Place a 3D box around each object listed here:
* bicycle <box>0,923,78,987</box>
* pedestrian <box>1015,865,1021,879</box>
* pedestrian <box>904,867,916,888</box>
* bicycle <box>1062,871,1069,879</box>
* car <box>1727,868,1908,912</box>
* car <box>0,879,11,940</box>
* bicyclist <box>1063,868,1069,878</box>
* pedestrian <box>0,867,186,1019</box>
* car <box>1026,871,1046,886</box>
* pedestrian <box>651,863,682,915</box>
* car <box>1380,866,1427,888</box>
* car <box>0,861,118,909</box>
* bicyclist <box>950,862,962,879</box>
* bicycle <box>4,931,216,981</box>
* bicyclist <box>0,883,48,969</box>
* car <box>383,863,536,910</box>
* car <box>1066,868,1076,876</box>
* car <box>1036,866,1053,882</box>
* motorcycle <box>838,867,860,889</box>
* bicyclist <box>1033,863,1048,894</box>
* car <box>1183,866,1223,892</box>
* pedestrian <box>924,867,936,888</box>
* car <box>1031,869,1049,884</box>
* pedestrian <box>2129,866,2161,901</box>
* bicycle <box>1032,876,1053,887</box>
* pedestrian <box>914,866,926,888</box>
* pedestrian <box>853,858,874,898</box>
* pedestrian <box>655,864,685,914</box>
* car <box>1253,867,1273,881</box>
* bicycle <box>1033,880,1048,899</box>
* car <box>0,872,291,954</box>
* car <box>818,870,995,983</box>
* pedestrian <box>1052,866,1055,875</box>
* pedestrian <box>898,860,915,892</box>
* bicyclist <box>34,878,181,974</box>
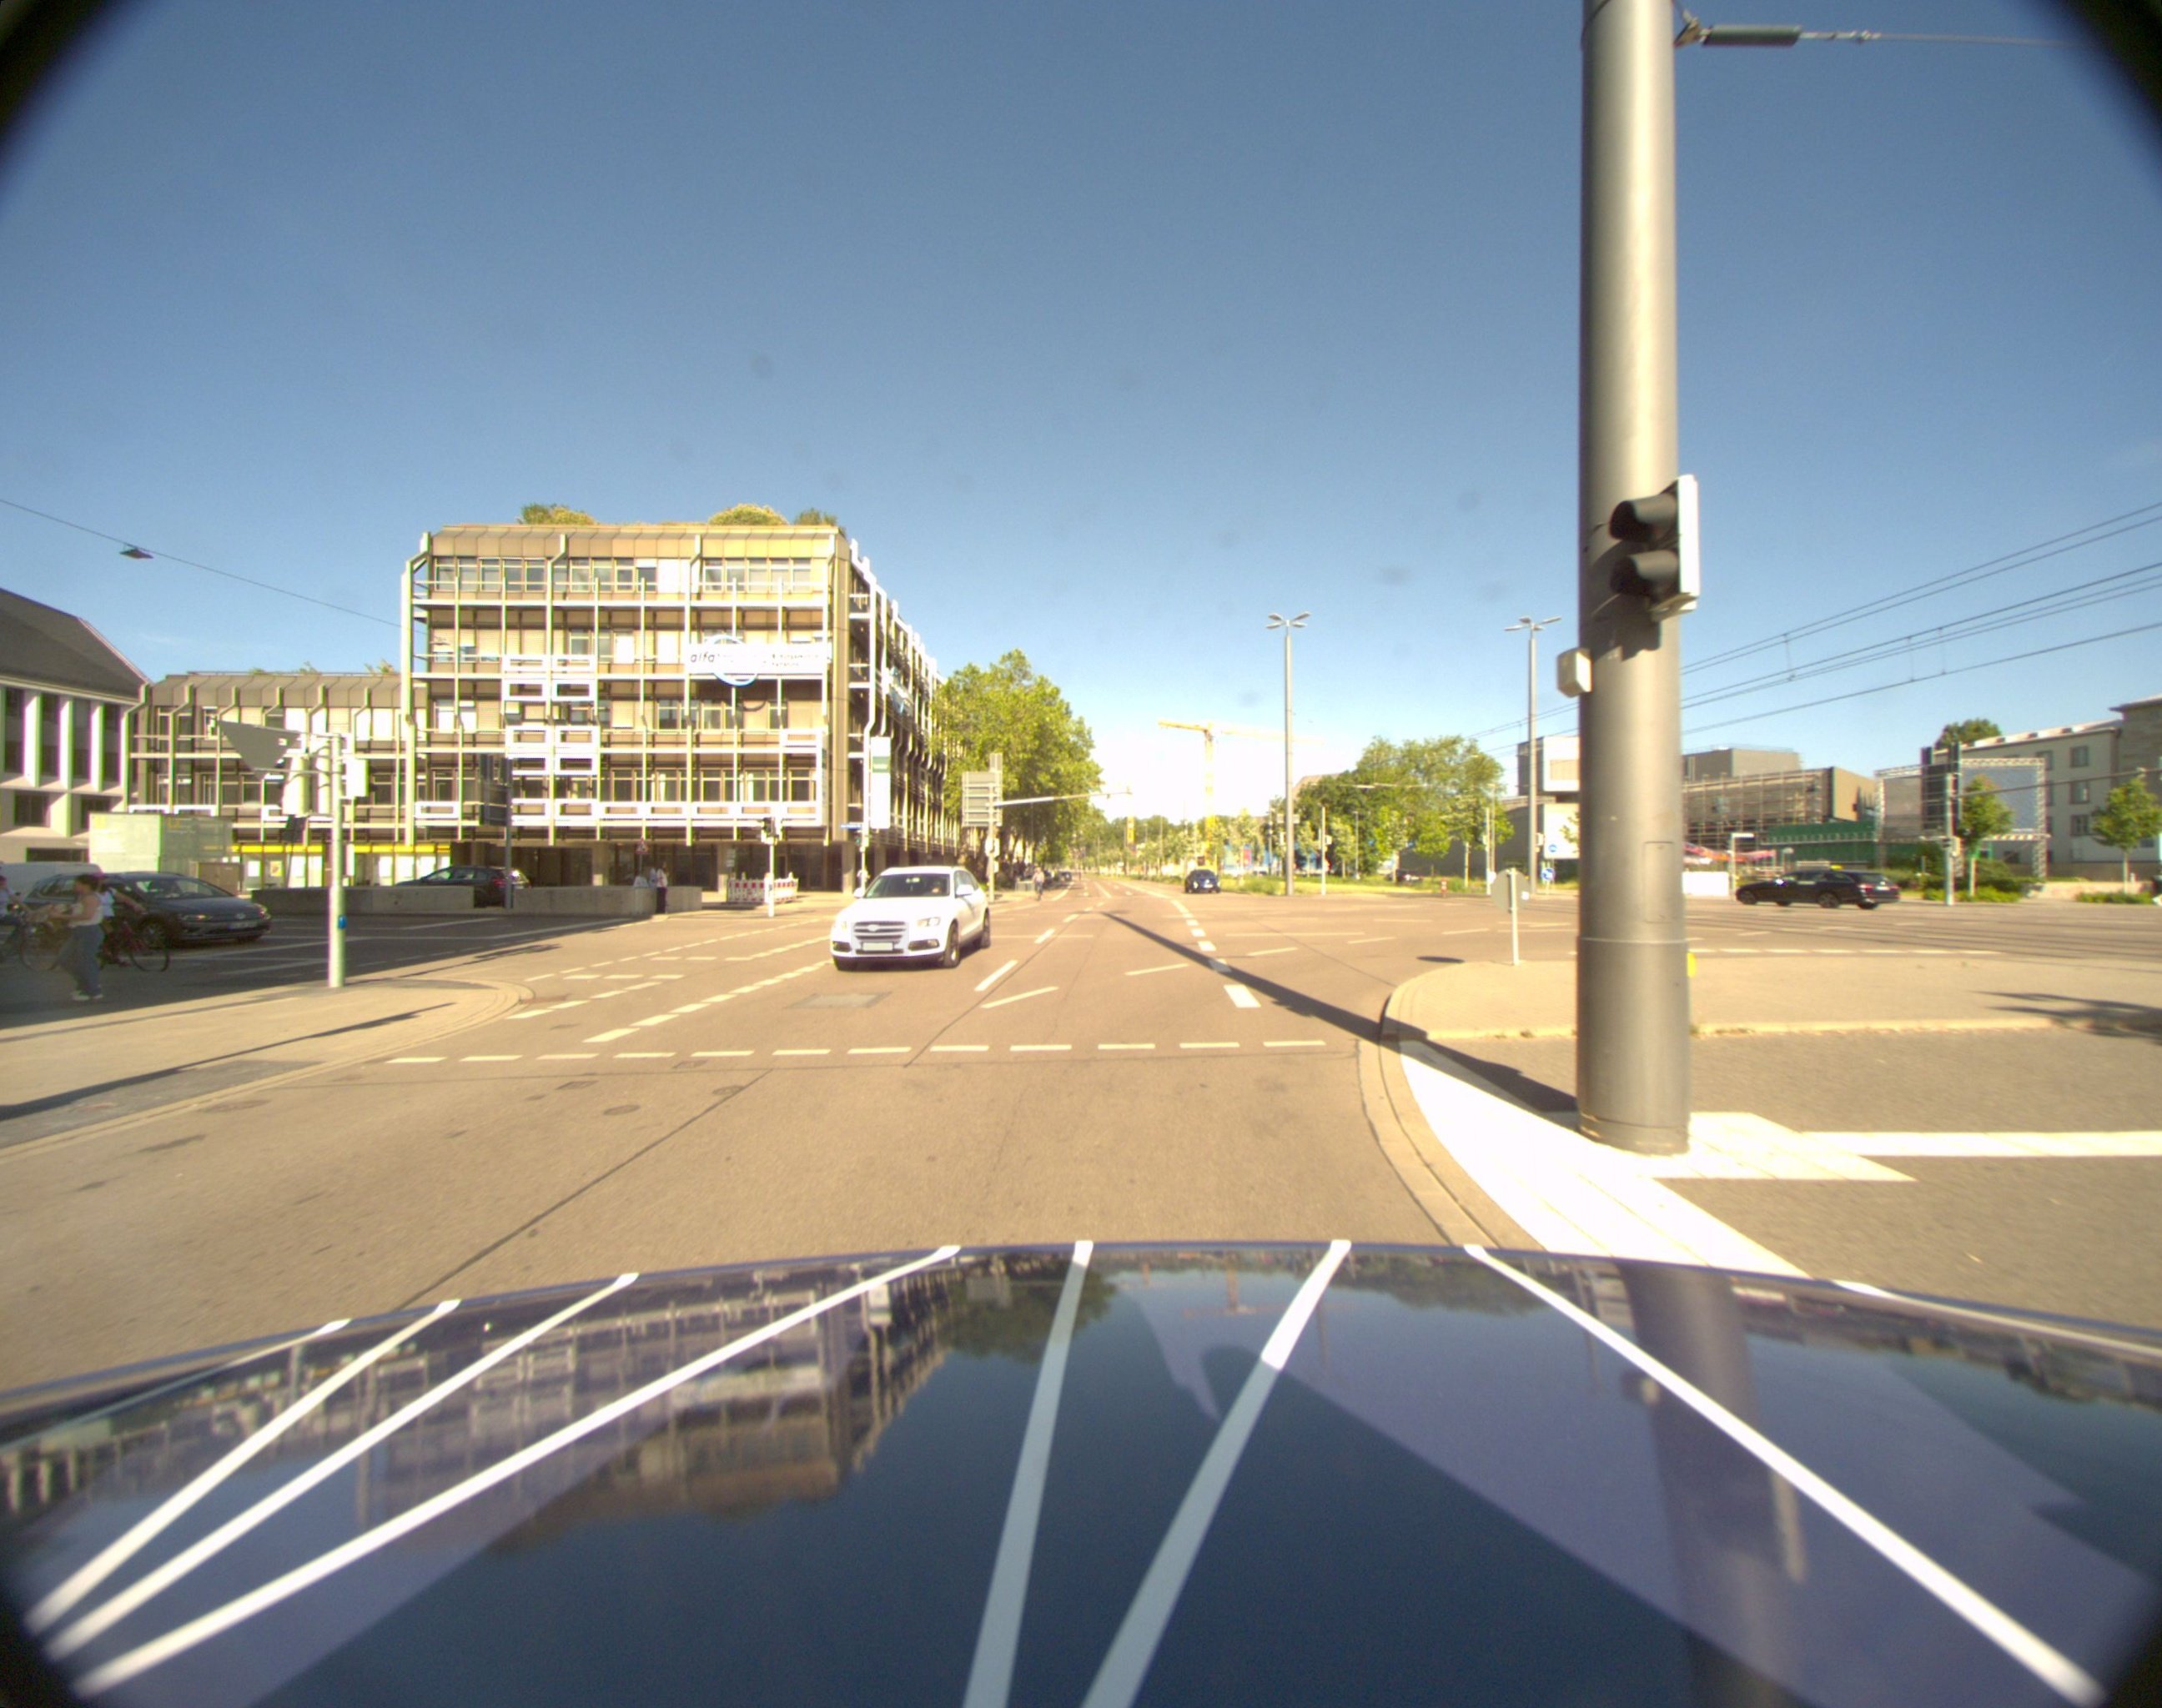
[{"bbox_3d":[-18.249,1.648,12.506,2.198,0.938,1.072,0,-1,4],"label":"bicycle"},{"bbox_3d":[-8.766,2.509,105.988,0.741,2.001,0.626,-1,-1,-2],"label":"pedestrian"},{"bbox_3d":[-13.030,1.790,57.872,0.667,1.591,1.009,2,-1,1],"label":"pedestrian"},{"bbox_3d":[-2.159,2.972,108.129,0.845,1.123,2.554,-1,-1,1],"label":"bicycle"},{"bbox_3d":[28.439,1.324,29.612,2.000,1.552,4.826,0,-1,-10],"label":"car"},{"bbox_3d":[-27.606,1.294,17.084,4.615,1.412,1.861,0,1,2],"label":"car"},{"bbox_3d":[-2.152,2.683,108.135,0.830,1.380,0.904,-1,-1,1],"label":"bicyclist"},{"bbox_3d":[-13.066,1.078,9.890,0.969,1.790,1.523,2,0,0],"label":"pedestrian"},{"bbox_3d":[-4.600,2.475,77.702,1.752,1.481,4.561,1,-1,0],"label":"car"},{"bbox_3d":[-13.031,1.100,23.884,0.662,1.603,0.526,2,0,-9],"label":"pedestrian"},{"bbox_3d":[26.590,1.855,62.867,1.998,1.697,4.561,0,-1,0],"label":"car"},{"bbox_3d":[-39.315,1.147,28.305,4.163,1.723,1.789,0,-1,-8],"label":"car"},{"bbox_3d":[-10.886,1.474,66.378,0.883,1.468,0.883,0,-1,0],"label":"bicyclist"},{"bbox_3d":[-15.737,1.641,12.362,2.198,0.667,1.072,0,-1,4],"label":"bicycle"},{"bbox_3d":[-18.210,1.187,12.512,0.935,1.387,1.077,0,-1,4],"label":"bicyclist"},{"bbox_3d":[-23.663,1.237,29.025,4.409,1.689,1.791,-1,-1,1],"label":"car"},{"bbox_3d":[-2.164,3.905,164.686,1.999,1.597,3.896,-1,-1,-1],"label":"car"},{"bbox_3d":[-4.310,2.408,90.251,1.752,1.810,4.338,1,-1,0],"label":"car"},{"bbox_3d":[-15.648,1.592,51.324,0.825,1.433,2.123,0,-1,1],"label":"motorcycle"},{"bbox_3d":[-2.238,1.374,42.062,0.711,1.677,0.852,-2,-1,-1],"label":"bicyclist"},{"bbox_3d":[7.881,1.613,49.438,1.775,1.579,4.088,-2,-1,-3],"label":"car"},{"bbox_3d":[-11.464,1.760,57.656,0.667,1.591,0.728,2,-1,1],"label":"pedestrian"},{"bbox_3d":[-4.547,2.445,84.482,1.752,1.623,4.338,1,-1,0],"label":"car"},{"bbox_3d":[51.980,1.421,36.747,1.195,1.675,0.948,-1,-2,1],"label":"pedestrian"},{"bbox_3d":[-3.545,2.555,69.548,1.849,0.954,0.711,2,-1,-4],"label":"bicycle"},{"bbox_3d":[-12.233,1.755,57.713,0.667,1.591,0.728,2,-1,1],"label":"pedestrian"},{"bbox_3d":[-11.268,1.232,39.387,0.950,2.001,1.078,0,0,-11],"label":"pedestrian"},{"bbox_3d":[-13.250,1.120,24.503,0.662,1.603,0.526,2,0,-9],"label":"pedestrian"},{"bbox_3d":[25.399,2.795,106.270,1.875,1.944,4.001,0,-1,0],"label":"car"},{"bbox_3d":[-2.230,1.954,41.999,0.711,0.987,1.924,-2,-1,-1],"label":"bicycle"},{"bbox_3d":[-20.178,1.235,16.492,4.195,1.603,1.861,0,1,2],"label":"car"},{"bbox_3d":[-2.823,1.115,13.368,1.824,1.604,4.414,-2,-1,3],"label":"car"},{"bbox_3d":[-5.531,3.270,153.756,0.591,1.829,0.569,-1,-1,0],"label":"pedestrian"},{"bbox_3d":[-11.002,1.377,47.954,0.949,2.001,1.079,0,-1,-7],"label":"pedestrian"},{"bbox_3d":[-15.777,1.137,12.355,1.024,1.467,1.072,0,0,4],"label":"bicyclist"}]
